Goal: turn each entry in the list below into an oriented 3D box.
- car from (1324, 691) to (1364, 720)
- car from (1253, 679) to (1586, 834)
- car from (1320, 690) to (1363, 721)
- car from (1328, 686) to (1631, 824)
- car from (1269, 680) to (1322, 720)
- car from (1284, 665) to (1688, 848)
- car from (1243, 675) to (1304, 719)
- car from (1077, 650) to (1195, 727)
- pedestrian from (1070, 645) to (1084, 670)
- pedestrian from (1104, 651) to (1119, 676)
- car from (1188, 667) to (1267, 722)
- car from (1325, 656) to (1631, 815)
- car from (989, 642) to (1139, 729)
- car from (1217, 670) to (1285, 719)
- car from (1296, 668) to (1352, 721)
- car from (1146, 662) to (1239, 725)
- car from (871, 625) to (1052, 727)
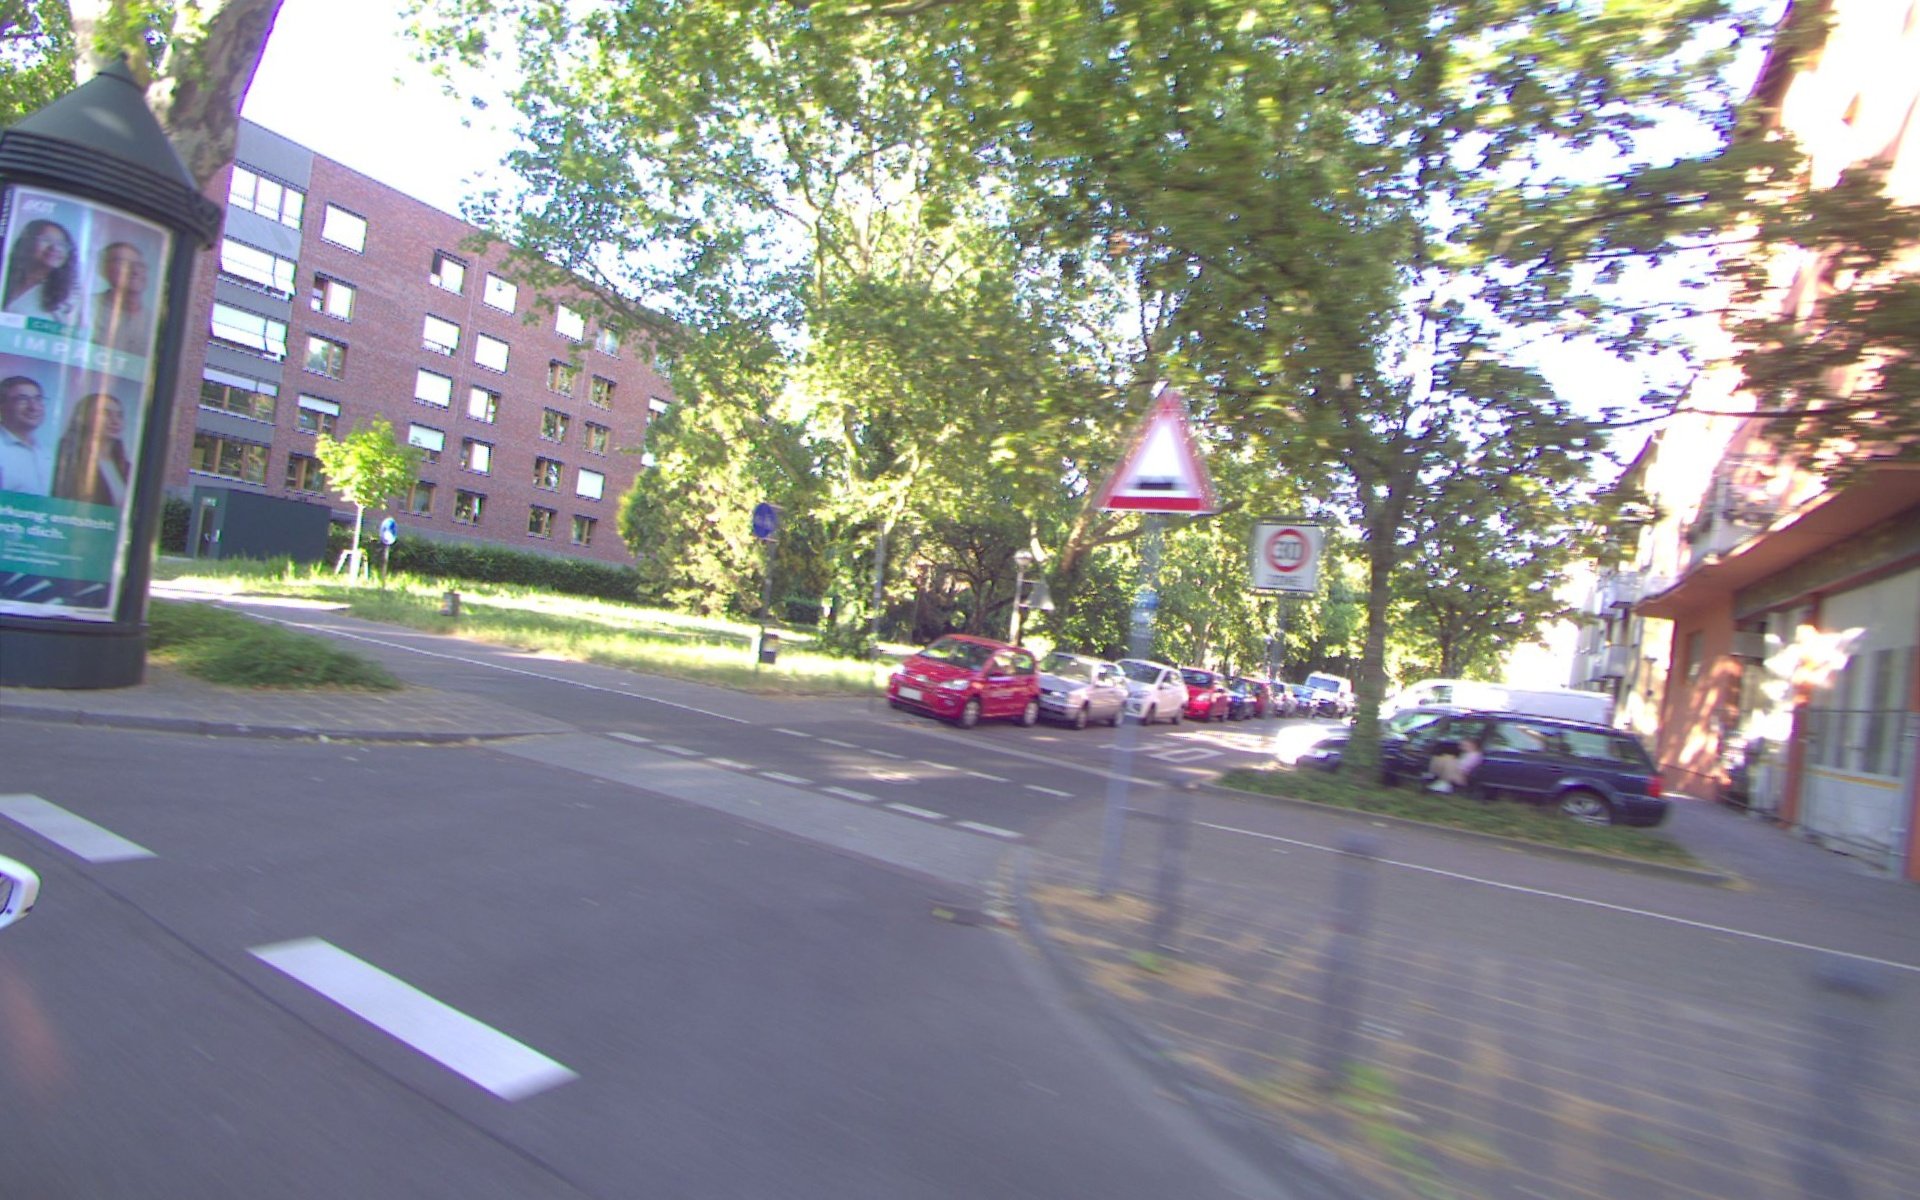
[{"bbox_3d":[24.612,6.726,64.417,1.769,1.528,3.997,7,-2,29],"label":"car"},{"bbox_3d":[7.257,2.397,16.234,4.496,1.593,1.794,7,-1,25],"label":"car"},{"bbox_3d":[22.791,6.276,60.017,1.769,1.528,3.997,7,-2,29],"label":"car"},{"bbox_3d":[9.205,2.689,18.164,4.497,1.593,1.794,7,-1,27],"label":"car"},{"bbox_3d":[16.198,4.811,48.476,1.655,1.600,3.927,7,-2,29],"label":"car"},{"bbox_3d":[6.998,2.013,13.850,4.496,1.593,1.794,7,-1,25],"label":"car"},{"bbox_3d":[13.676,4.216,43.771,1.655,1.600,3.927,7,-2,29],"label":"car"},{"bbox_3d":[4.553,2.275,25.636,1.655,1.600,3.927,7,-2,29],"label":"car"},{"bbox_3d":[8.361,4.102,71.796,0.639,1.681,0.649,7,-1,31],"label":"pedestrian"},{"bbox_3d":[10.885,4.583,72.293,0.639,1.681,0.649,7,-1,31],"label":"pedestrian"},{"bbox_3d":[9.411,3.302,35.214,1.655,1.600,3.927,7,-2,29],"label":"car"},{"bbox_3d":[10.187,2.596,20.124,4.996,2.210,1.917,7,-1,28],"label":"car"},{"bbox_3d":[2.317,1.842,21.449,1.655,1.469,3.927,7,-2,29],"label":"car"},{"bbox_3d":[11.629,3.763,40.010,1.655,1.600,3.927,7,-2,29],"label":"car"},{"bbox_3d":[20.275,5.265,55.887,1.942,2.592,5.042,7,-2,28],"label":"car"},{"bbox_3d":[7.213,2.880,30.922,1.655,1.600,3.927,7,-2,29],"label":"car"},{"bbox_3d":[0.131,1.400,18.218,1.655,1.469,3.547,7,-2,29],"label":"car"}]
